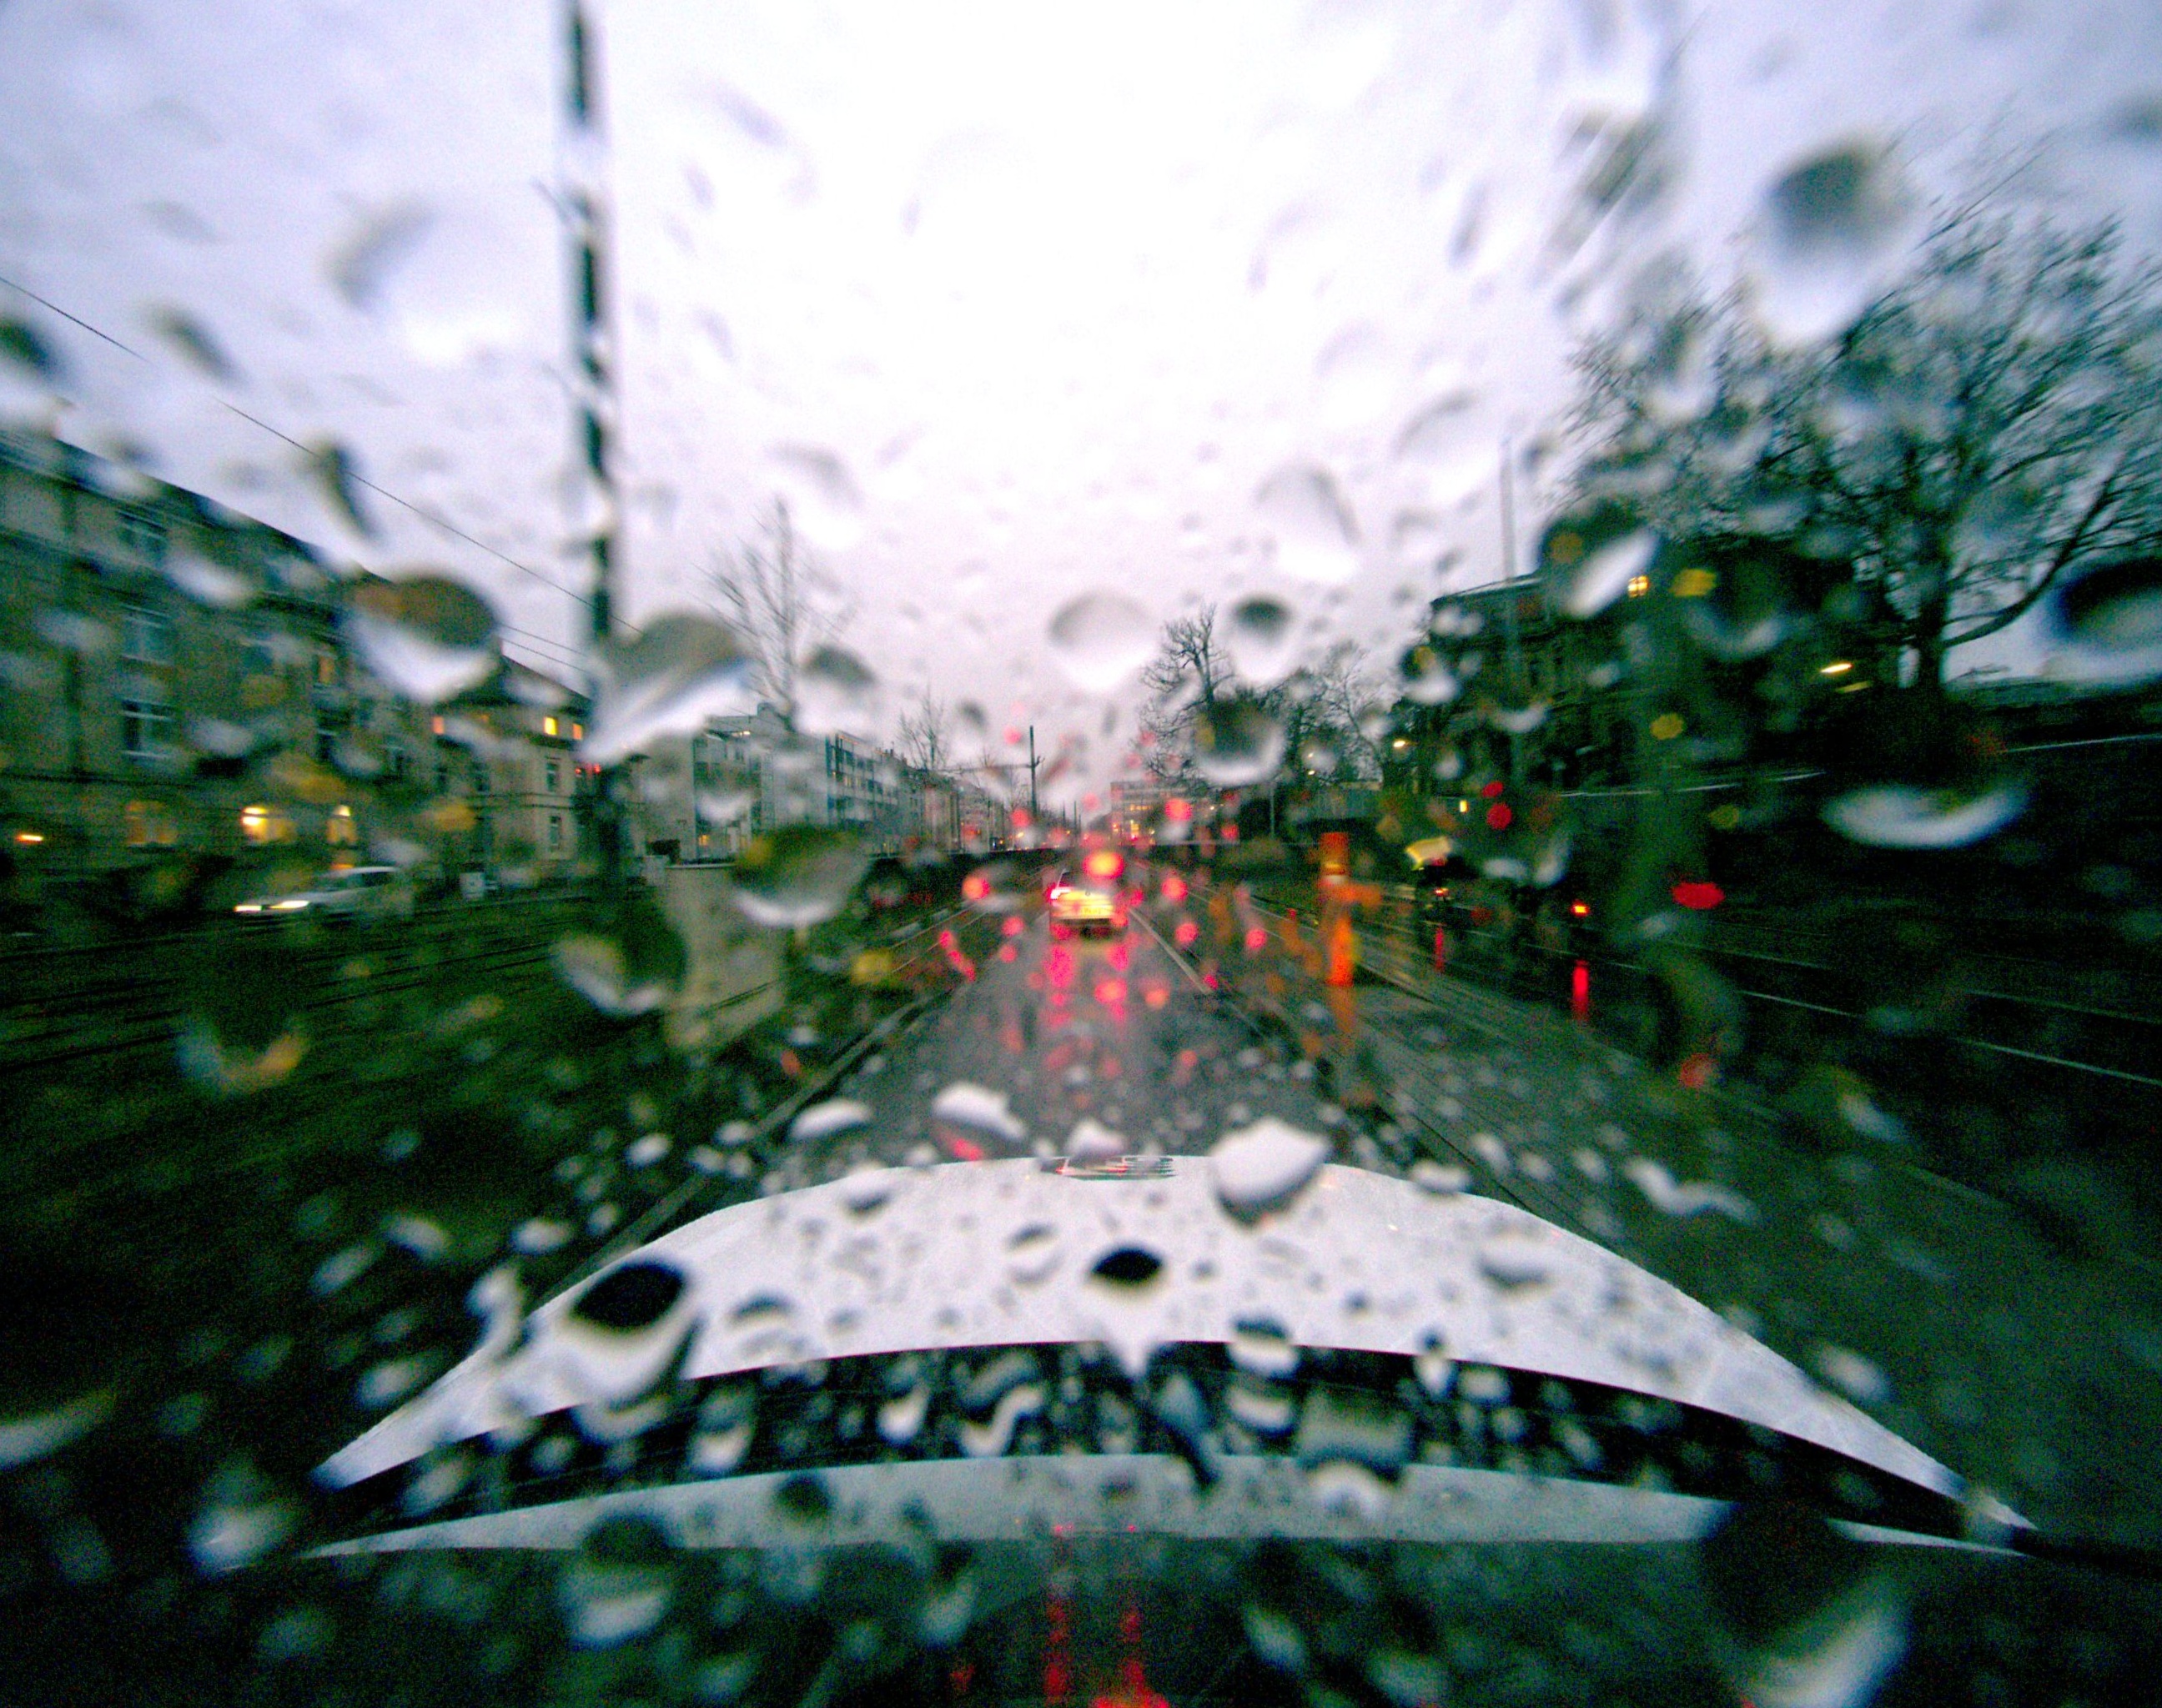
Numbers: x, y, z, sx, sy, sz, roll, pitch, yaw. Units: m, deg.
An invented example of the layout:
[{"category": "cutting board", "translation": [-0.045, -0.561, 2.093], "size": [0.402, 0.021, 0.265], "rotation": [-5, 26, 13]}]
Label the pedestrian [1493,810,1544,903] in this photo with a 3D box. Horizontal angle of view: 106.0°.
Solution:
[{"category": "pedestrian", "translation": [9.170, 0.041, 17.101], "size": [0.530, 1.879, 0.900], "rotation": [-2, 1, 0]}]

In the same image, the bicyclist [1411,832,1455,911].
[{"category": "bicyclist", "translation": [7.314, 0.355, 16.951], "size": [0.498, 1.591, 0.837], "rotation": [-2, 1, -1]}]

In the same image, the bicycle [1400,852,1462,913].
[{"category": "bicycle", "translation": [7.307, 0.561, 17.081], "size": [0.410, 1.185, 1.948], "rotation": [-2, 1, 0]}]

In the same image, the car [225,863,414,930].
[{"category": "car", "translation": [-26.585, 1.415, 28.733], "size": [1.987, 1.932, 4.911], "rotation": [-3, 1, -1]}]

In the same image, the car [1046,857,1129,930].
[{"category": "car", "translation": [0.233, 0.821, 18.799], "size": [1.715, 1.479, 4.003], "rotation": [0, 0, 3]}]

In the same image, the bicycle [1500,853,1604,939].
[{"category": "bicycle", "translation": [7.260, 0.596, 12.663], "size": [0.410, 1.185, 2.029], "rotation": [-2, 1, 0]}]

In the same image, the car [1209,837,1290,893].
[{"category": "car", "translation": [4.752, 0.291, 23.469], "size": [1.715, 1.479, 4.003], "rotation": [0, 0, 3]}]

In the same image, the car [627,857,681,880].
[{"category": "car", "translation": [-30.672, 1.035, 58.596], "size": [1.801, 1.436, 3.926], "rotation": [-3, 1, -1]}]

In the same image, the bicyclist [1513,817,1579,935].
[{"category": "bicyclist", "translation": [7.203, 0.323, 12.643], "size": [0.498, 1.767, 0.837], "rotation": [-2, 1, -1]}]
